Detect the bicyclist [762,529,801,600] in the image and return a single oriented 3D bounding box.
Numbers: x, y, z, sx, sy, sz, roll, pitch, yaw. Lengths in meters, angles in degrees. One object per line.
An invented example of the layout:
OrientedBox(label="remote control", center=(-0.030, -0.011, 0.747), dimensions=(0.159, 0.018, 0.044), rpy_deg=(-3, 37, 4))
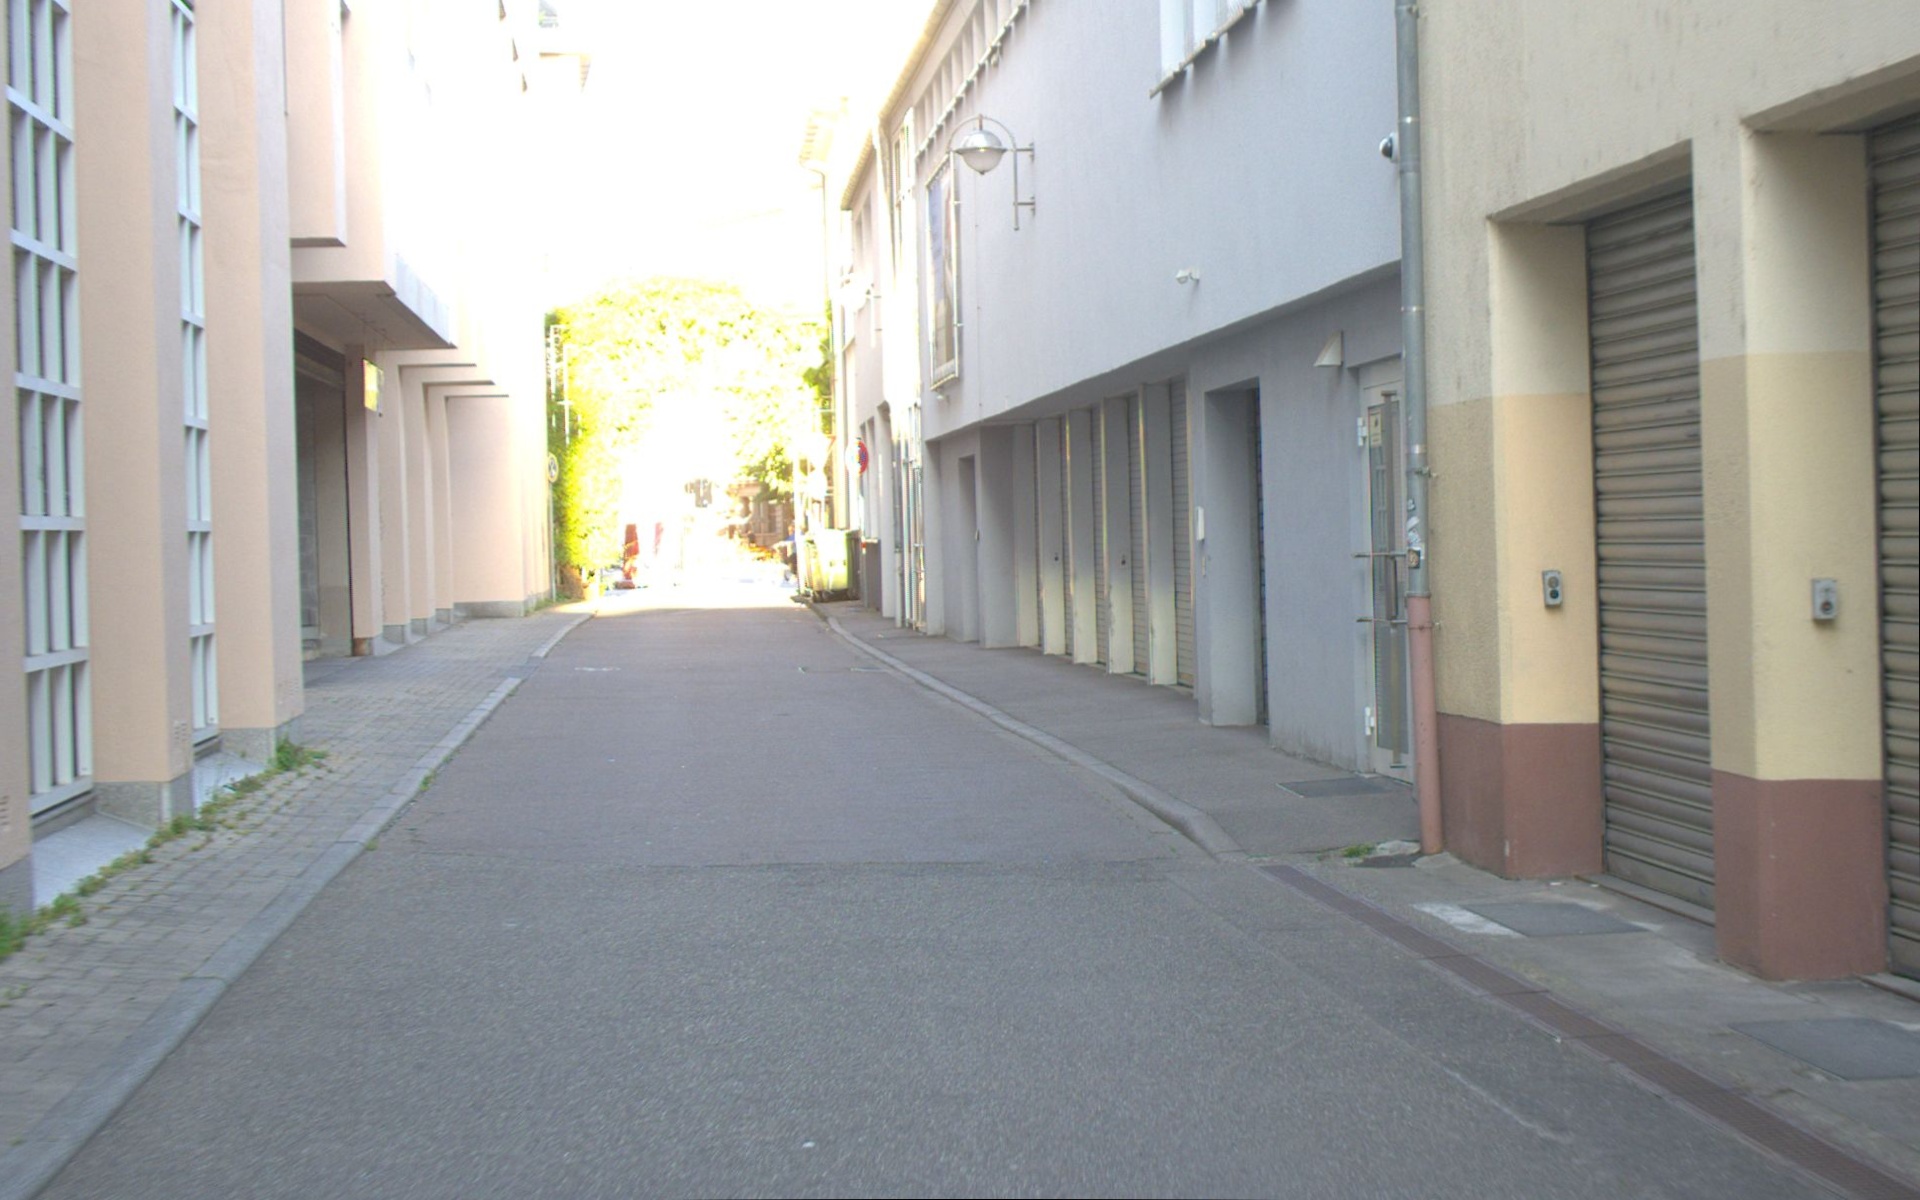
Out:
OrientedBox(label="bicyclist", center=(-4.459, -0.885, 85.821), dimensions=(0.879, 1.779, 0.736), rpy_deg=(0, 1, -9))

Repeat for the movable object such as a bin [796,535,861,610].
OrientedBox(label="movable object such as a bin", center=(-2.539, -0.532, 66.284), dimensions=(1.064, 1.362, 1.342), rpy_deg=(-4, 1, -6))

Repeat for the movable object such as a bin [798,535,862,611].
OrientedBox(label="movable object such as a bin", center=(-2.459, -0.517, 64.881), dimensions=(0.937, 1.362, 1.342), rpy_deg=(-4, 1, -10))

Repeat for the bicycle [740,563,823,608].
OrientedBox(label="bicycle", center=(-4.461, -0.370, 85.830), dimensions=(1.984, 1.108, 0.736), rpy_deg=(0, 1, -9))
